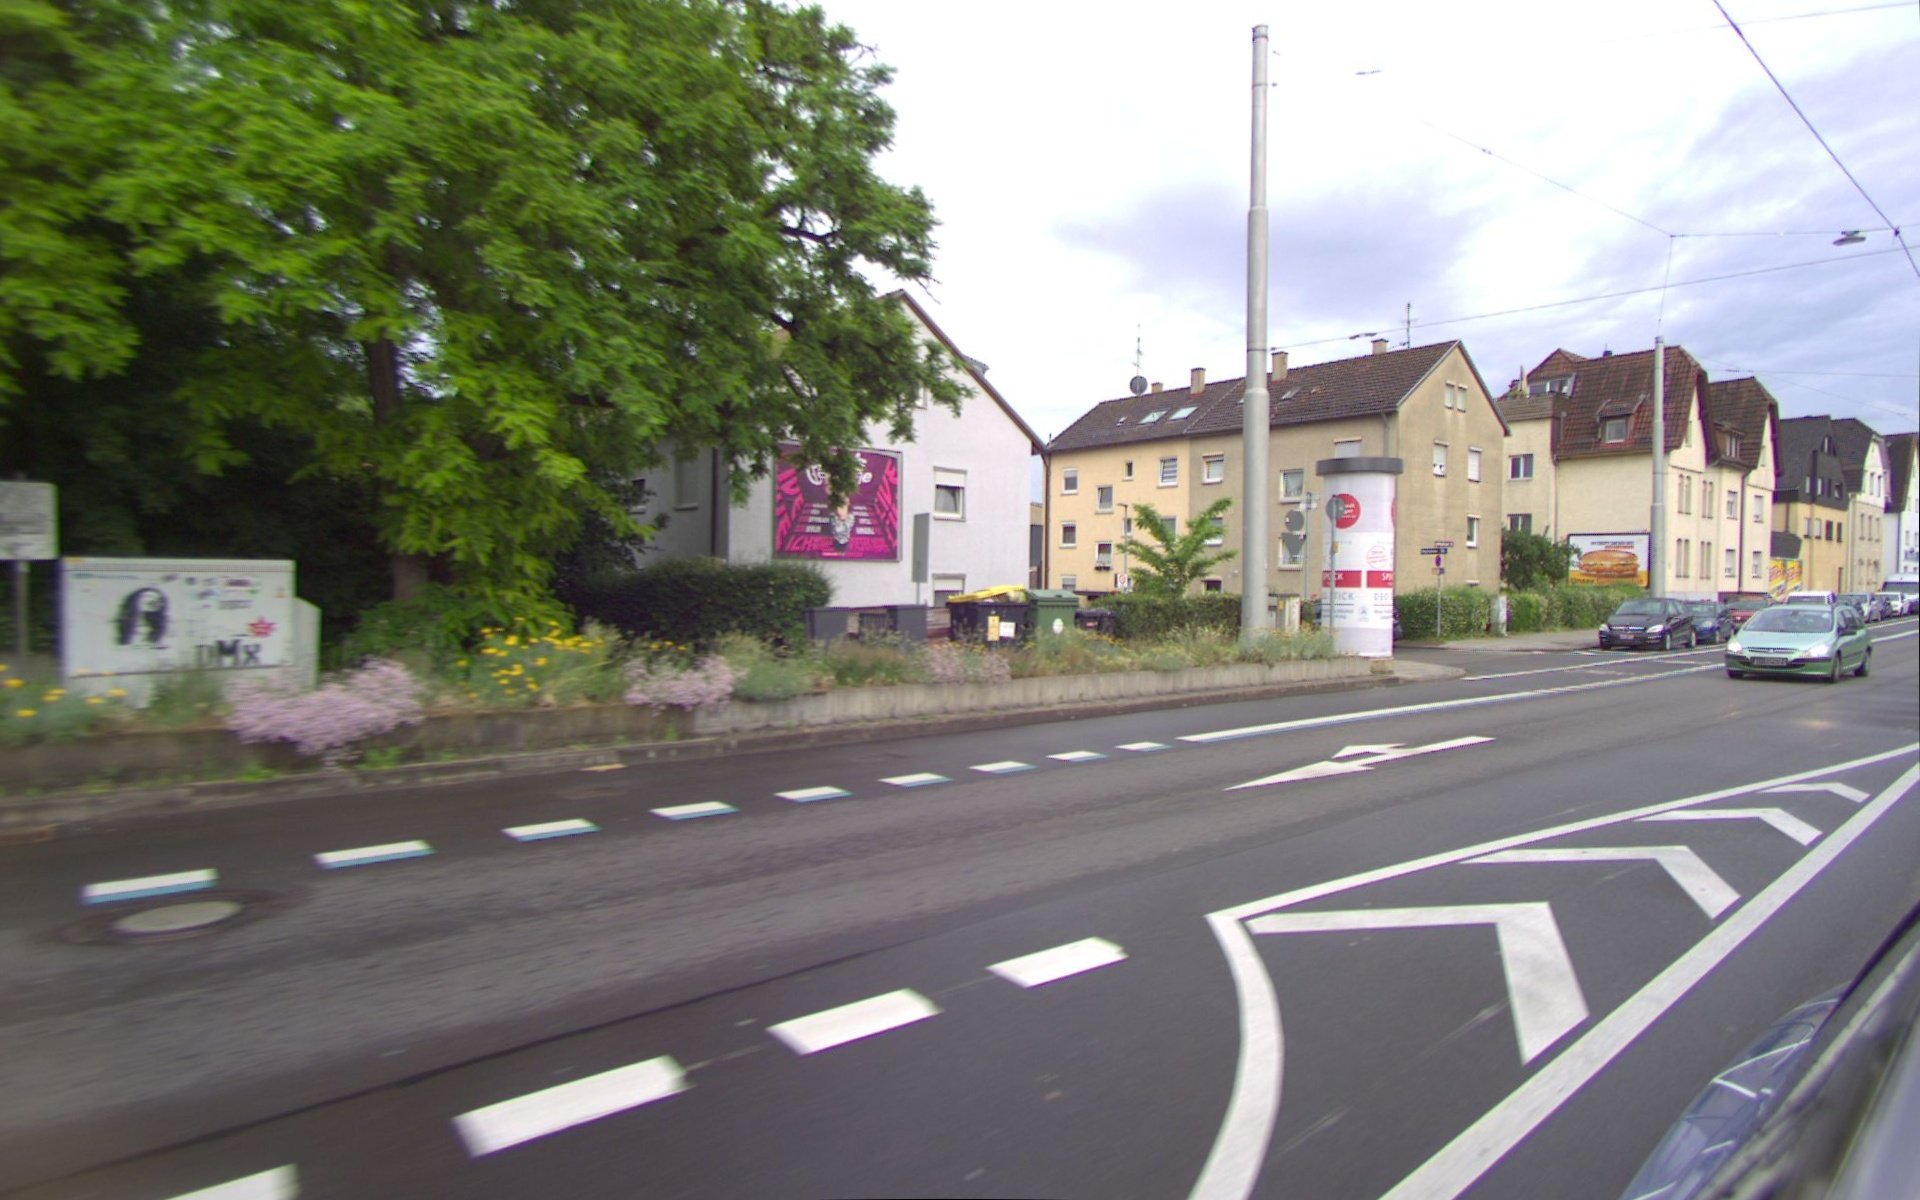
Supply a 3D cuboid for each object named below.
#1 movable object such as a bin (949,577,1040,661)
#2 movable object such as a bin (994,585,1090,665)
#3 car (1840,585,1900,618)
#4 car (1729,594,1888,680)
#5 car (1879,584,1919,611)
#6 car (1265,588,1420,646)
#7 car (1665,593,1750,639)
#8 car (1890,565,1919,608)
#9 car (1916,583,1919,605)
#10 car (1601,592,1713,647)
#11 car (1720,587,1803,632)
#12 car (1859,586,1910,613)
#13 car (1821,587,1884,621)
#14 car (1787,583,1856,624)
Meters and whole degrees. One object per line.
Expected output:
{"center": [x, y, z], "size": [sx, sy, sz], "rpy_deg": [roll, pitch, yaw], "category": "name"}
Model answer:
{"center": [0.626, 0.321, 18.447], "size": [1.116, 1.435, 1.185], "rpy_deg": [-2, 1, -43], "category": "movable object such as a bin"}
{"center": [1.575, 0.443, 19.418], "size": [1.279, 1.435, 1.312], "rpy_deg": [-2, 1, -43], "category": "movable object such as a bin"}
{"center": [47.763, 0.070, 53.097], "size": [4.206, 1.586, 1.705], "rpy_deg": [-2, 1, -39], "category": "car"}
{"center": [17.404, 0.679, 20.706], "size": [4.129, 1.467, 1.886], "rpy_deg": [-2, 1, -41], "category": "car"}
{"center": [55.444, -0.179, 59.407], "size": [4.126, 1.483, 1.604], "rpy_deg": [-2, 1, -39], "category": "car"}
{"center": [12.218, 0.552, 32.564], "size": [1.845, 1.676, 4.285], "rpy_deg": [-2, 0, -37], "category": "car"}
{"center": [26.024, 0.528, 35.191], "size": [3.862, 1.462, 1.669], "rpy_deg": [-1, 1, -42], "category": "car"}
{"center": [59.756, -0.897, 62.963], "size": [5.818, 2.530, 2.043], "rpy_deg": [-2, 1, -40], "category": "car"}
{"center": [64.962, -0.439, 67.214], "size": [4.015, 1.362, 1.725], "rpy_deg": [-2, 1, -41], "category": "car"}
{"center": [21.449, 0.541, 31.094], "size": [4.362, 1.553, 1.839], "rpy_deg": [-1, 0, -41], "category": "car"}
{"center": [31.724, 0.335, 40.020], "size": [4.028, 1.648, 1.840], "rpy_deg": [-1, 1, -41], "category": "car"}
{"center": [51.678, -0.047, 56.542], "size": [3.724, 1.419, 1.604], "rpy_deg": [-1, 1, -39], "category": "car"}
{"center": [43.746, 0.166, 49.585], "size": [4.063, 1.530, 1.690], "rpy_deg": [-1, 1, -39], "category": "car"}
{"center": [39.322, 0.115, 46.141], "size": [4.445, 1.779, 1.849], "rpy_deg": [-1, 1, -42], "category": "car"}
